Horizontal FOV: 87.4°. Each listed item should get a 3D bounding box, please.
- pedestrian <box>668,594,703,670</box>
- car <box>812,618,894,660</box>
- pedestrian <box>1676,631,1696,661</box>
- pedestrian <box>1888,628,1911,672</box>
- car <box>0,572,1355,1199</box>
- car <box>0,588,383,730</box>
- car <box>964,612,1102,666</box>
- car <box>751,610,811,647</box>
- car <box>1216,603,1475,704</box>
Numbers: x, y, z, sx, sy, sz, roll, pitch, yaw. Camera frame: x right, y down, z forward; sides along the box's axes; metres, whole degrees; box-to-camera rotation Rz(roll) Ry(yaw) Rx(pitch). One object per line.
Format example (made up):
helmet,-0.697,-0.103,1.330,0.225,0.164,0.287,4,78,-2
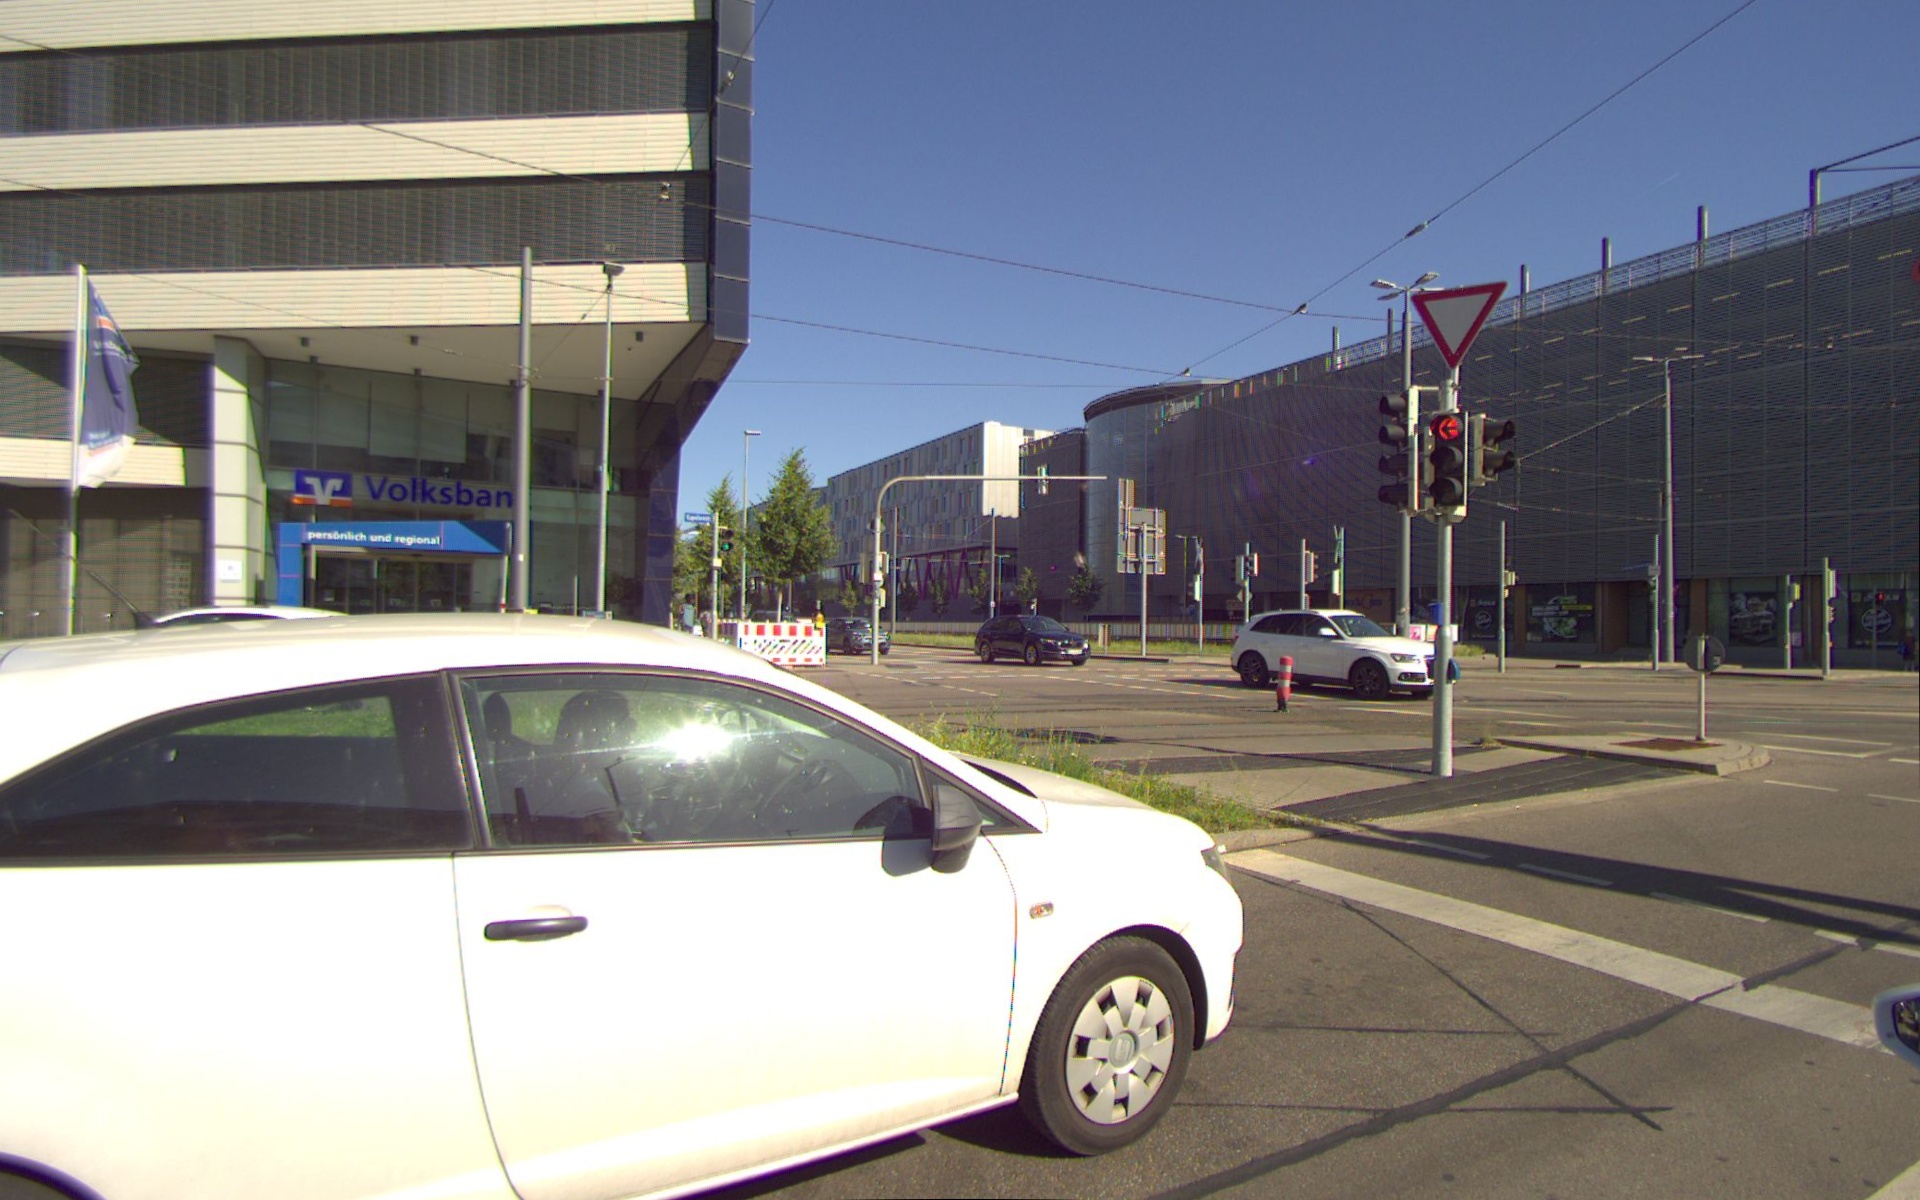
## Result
pedestrian,-6.401,0.745,23.398,0.729,1.719,0.805,0,-2,-20
car,-4.447,1.576,41.295,1.690,1.534,4.241,1,0,-32
pedestrian,40.646,2.562,56.225,0.584,1.622,0.661,2,0,-11
pedestrian,39.971,2.118,42.733,0.687,1.821,0.726,-2,-3,44
car,-0.956,0.738,2.795,3.977,1.460,1.723,2,1,-31
car,-10.268,0.732,13.602,4.139,1.668,1.808,1,-1,-35
car,2.059,1.150,29.872,1.812,1.481,4.646,1,-2,-31
car,-9.124,1.421,50.970,1.688,1.815,4.440,1,-1,-28
car,7.557,0.964,20.184,1.916,1.730,4.643,1,0,-32
